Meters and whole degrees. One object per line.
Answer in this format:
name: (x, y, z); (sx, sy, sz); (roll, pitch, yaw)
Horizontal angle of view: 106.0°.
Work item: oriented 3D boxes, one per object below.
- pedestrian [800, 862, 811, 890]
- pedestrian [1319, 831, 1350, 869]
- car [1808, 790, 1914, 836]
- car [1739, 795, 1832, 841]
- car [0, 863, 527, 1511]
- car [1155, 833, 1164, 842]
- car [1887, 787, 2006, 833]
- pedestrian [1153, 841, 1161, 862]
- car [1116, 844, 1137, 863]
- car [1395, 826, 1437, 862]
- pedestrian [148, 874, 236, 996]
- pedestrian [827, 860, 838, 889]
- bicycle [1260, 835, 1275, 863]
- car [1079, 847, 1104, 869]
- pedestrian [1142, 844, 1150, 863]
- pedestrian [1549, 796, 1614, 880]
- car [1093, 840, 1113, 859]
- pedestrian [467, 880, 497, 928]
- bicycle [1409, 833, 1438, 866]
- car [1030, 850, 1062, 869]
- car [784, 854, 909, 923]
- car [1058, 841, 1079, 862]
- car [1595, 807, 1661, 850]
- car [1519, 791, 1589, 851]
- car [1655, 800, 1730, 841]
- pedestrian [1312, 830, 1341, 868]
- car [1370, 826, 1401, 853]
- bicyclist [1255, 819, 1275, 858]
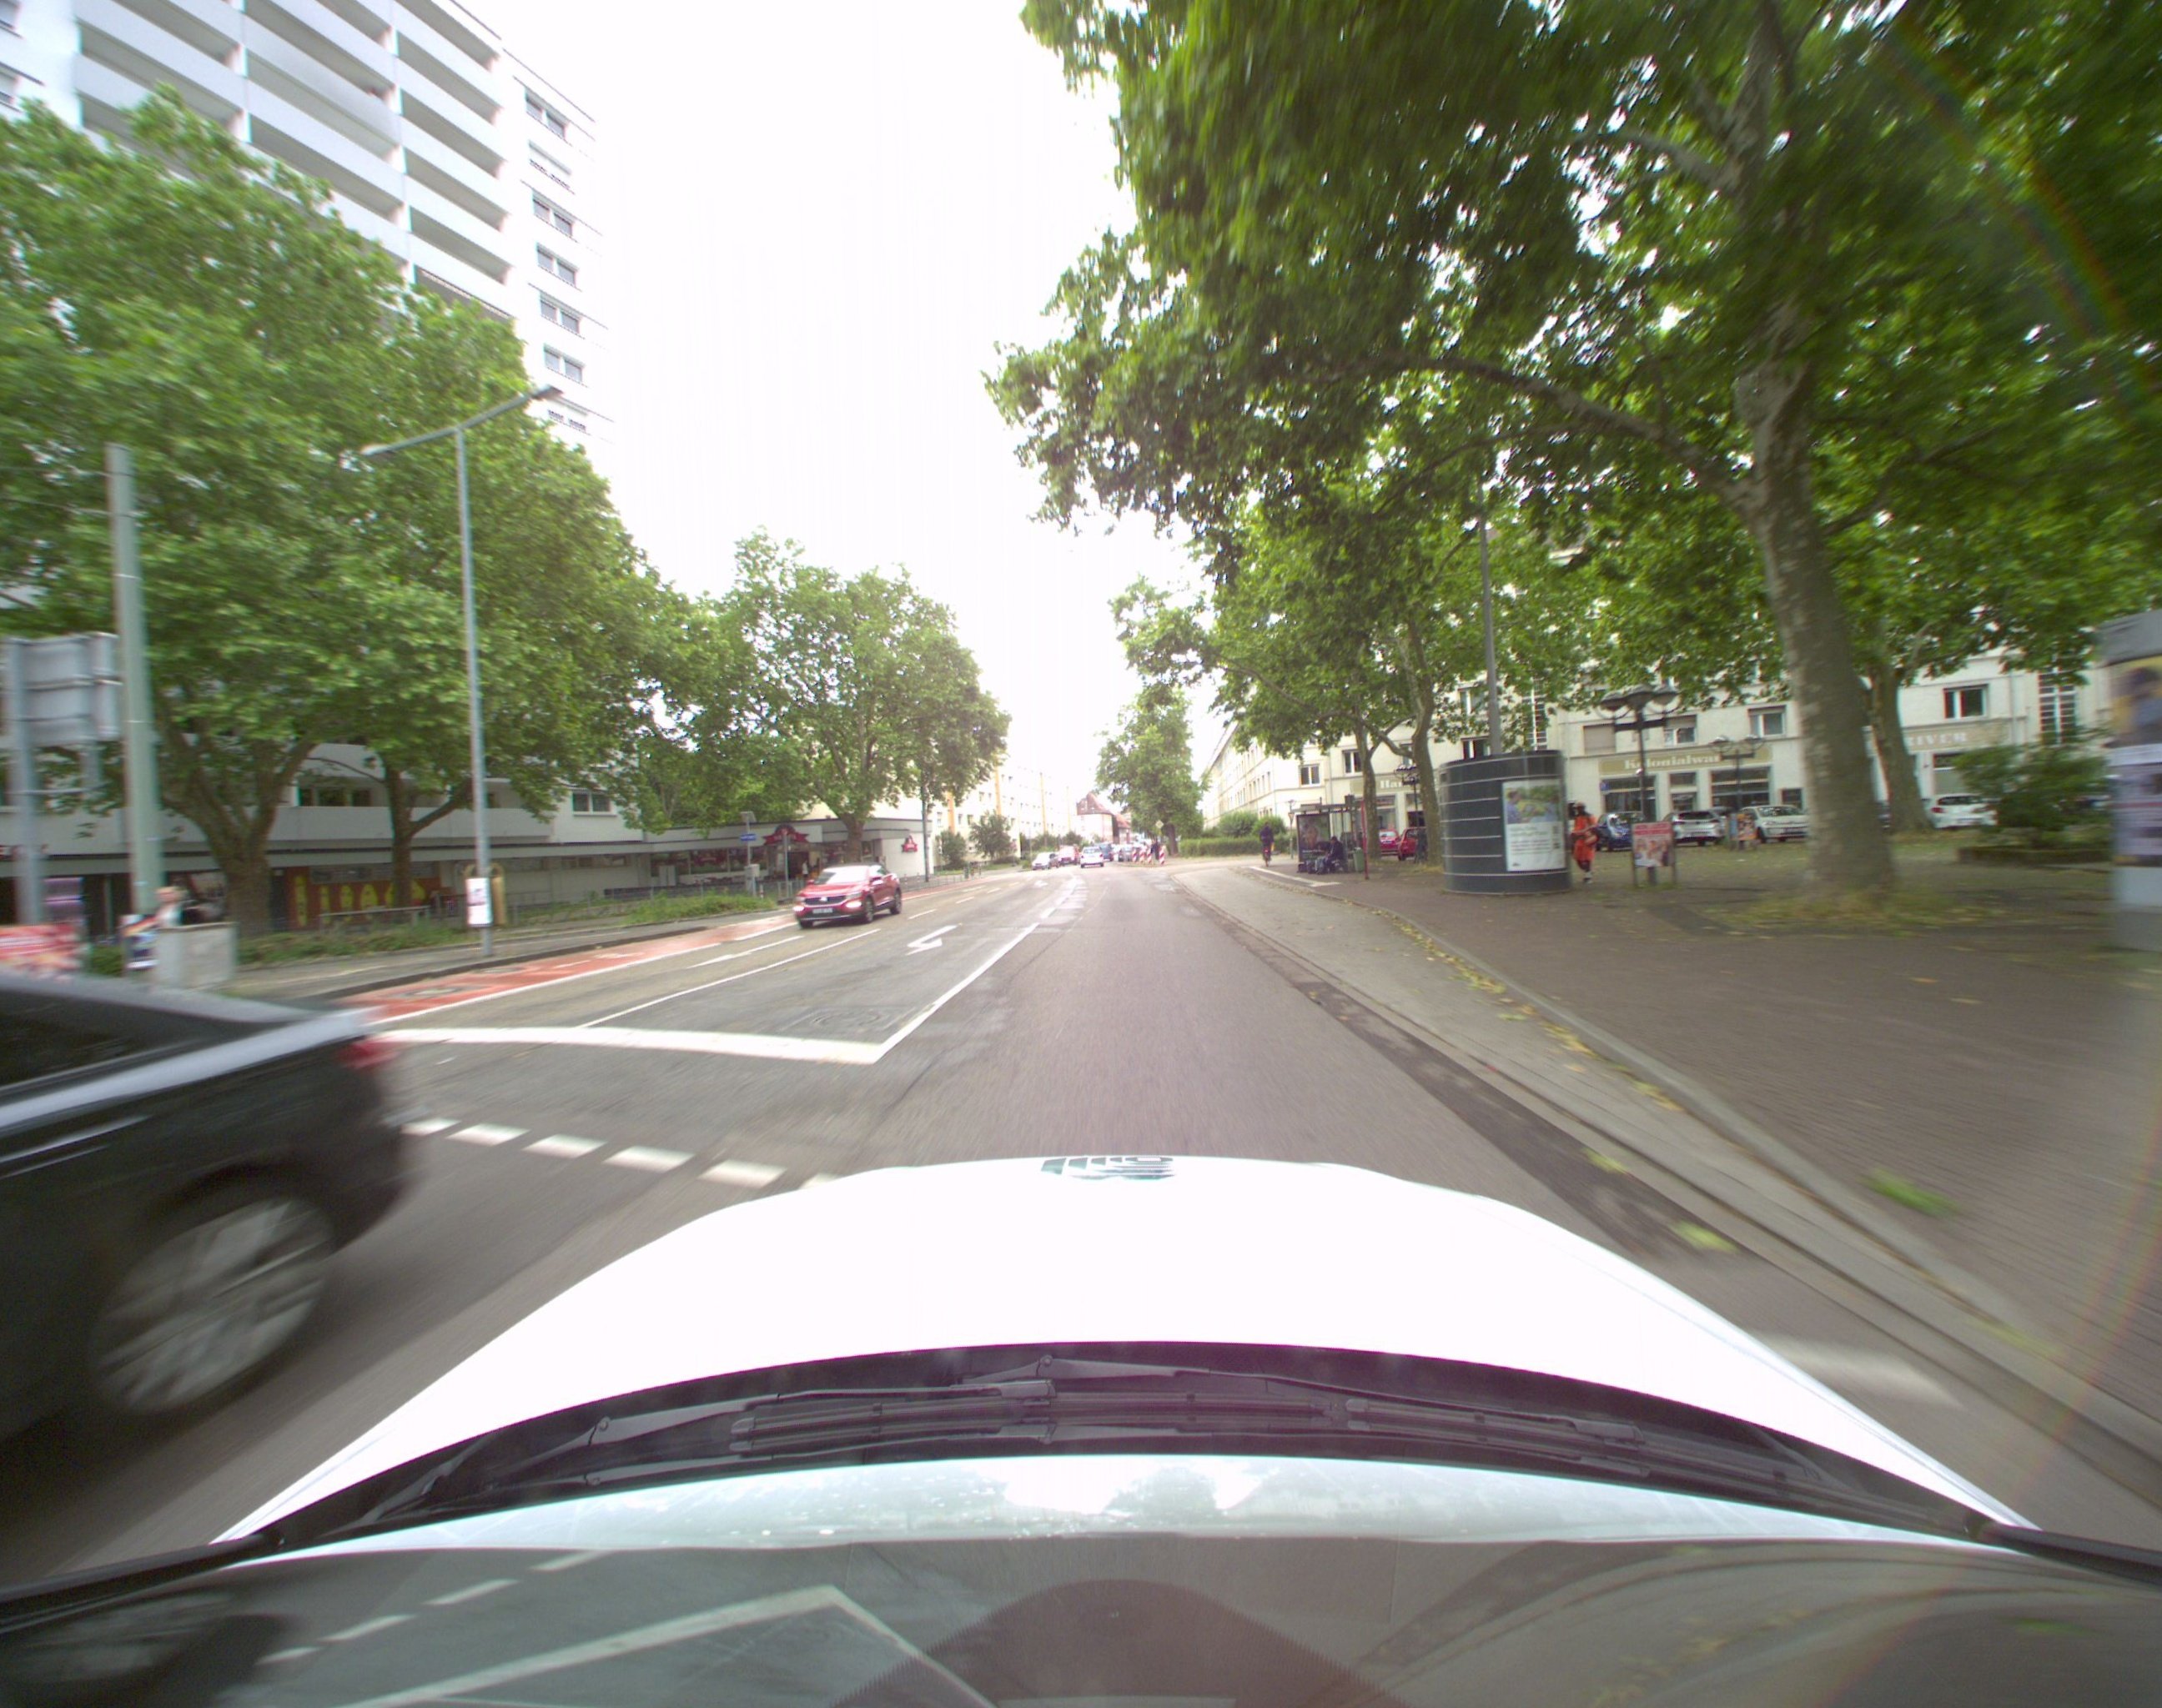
pedestrian: (-16.706, 1.339, 49.382); (0.510, 1.680, 0.514); (-4, 0, -13)
pedestrian: (9.194, -0.143, 29.577); (0.849, 1.314, 0.763); (-4, 0, 2)
car: (28.498, -1.482, 29.912); (1.779, 1.440, 3.851); (-3, 1, 28)
car: (26.548, -1.337, 30.816); (1.779, 1.516, 3.851); (-3, 1, 28)
car: (-3.419, 0.843, 1.348); (1.801, 1.427, 4.320); (-4, 1, 3)
car: (19.970, -4.250, 207.151); (1.986, 2.013, 4.001); (-3, 0, 1)
car: (31.241, -1.554, 29.546); (1.779, 1.440, 3.851); (-3, 1, 28)
pedestrian: (6.205, -0.188, 66.391); (0.548, 1.684, 0.570); (-4, 0, 1)
car: (4.348, -0.072, 77.803); (1.808, 1.591, 4.003); (-4, 1, 3)
car: (14.864, -0.479, 36.275); (1.502, 1.428, 4.021); (-4, 0, 20)
pedestrian: (-13.721, 1.230, 12.581); (0.570, 1.785, 0.622); (-3, 0, 11)
pedestrian: (-15.216, 1.251, 49.775); (0.516, 1.680, 0.508); (-4, 0, -15)
bicycle: (8.693, -0.247, 38.002); (0.415, 1.242, 1.931); (-4, 0, 7)
car: (0.902, 0.274, 65.801); (1.808, 1.591, 4.003); (-4, 1, 3)
pedestrian: (5.337, -0.038, 66.577); (0.513, 1.495, 0.511); (-4, 0, 1)
pedestrian: (10.911, -0.341, 17.783); (0.781, 1.743, 0.925); (-4, 0, 1)
car: (2.326, -0.509, 87.298); (1.986, 1.848, 4.001); (-3, 1, 1)
pedestrian: (-20.192, 1.677, 27.451); (0.416, 1.545, 0.626); (-4, 0, 25)
bicycle: (13.350, -0.209, 31.720); (0.771, 1.168, 2.347); (-4, 0, 28)
car: (-3.146, 0.514, 73.390); (1.755, 1.486, 4.015); (-4, 1, 14)
car: (-6.070, 0.835, 21.655); (1.846, 1.452, 4.171); (-3, 1, 3)
car: (-1.239, -0.287, 81.713); (1.760, 1.911, 4.004); (-4, 1, 3)
car: (22.118, -1.045, 33.044); (1.779, 1.543, 3.851); (-3, 1, 28)
car: (19.507, -1.342, 33.729); (2.154, 2.200, 4.025); (-3, 1, 27)
car: (24.616, -1.339, 32.899); (1.779, 1.440, 3.851); (-3, 1, 28)
pedestrian: (9.194, -0.179, 30.512); (0.814, 1.372, 0.763); (-4, 0, 2)
car: (17.703, -0.885, 47.370); (1.502, 1.428, 4.021); (-4, 0, 20)
bicyclist: (8.589, -0.705, 38.054); (0.755, 1.758, 0.823); (-4, 0, 10)
